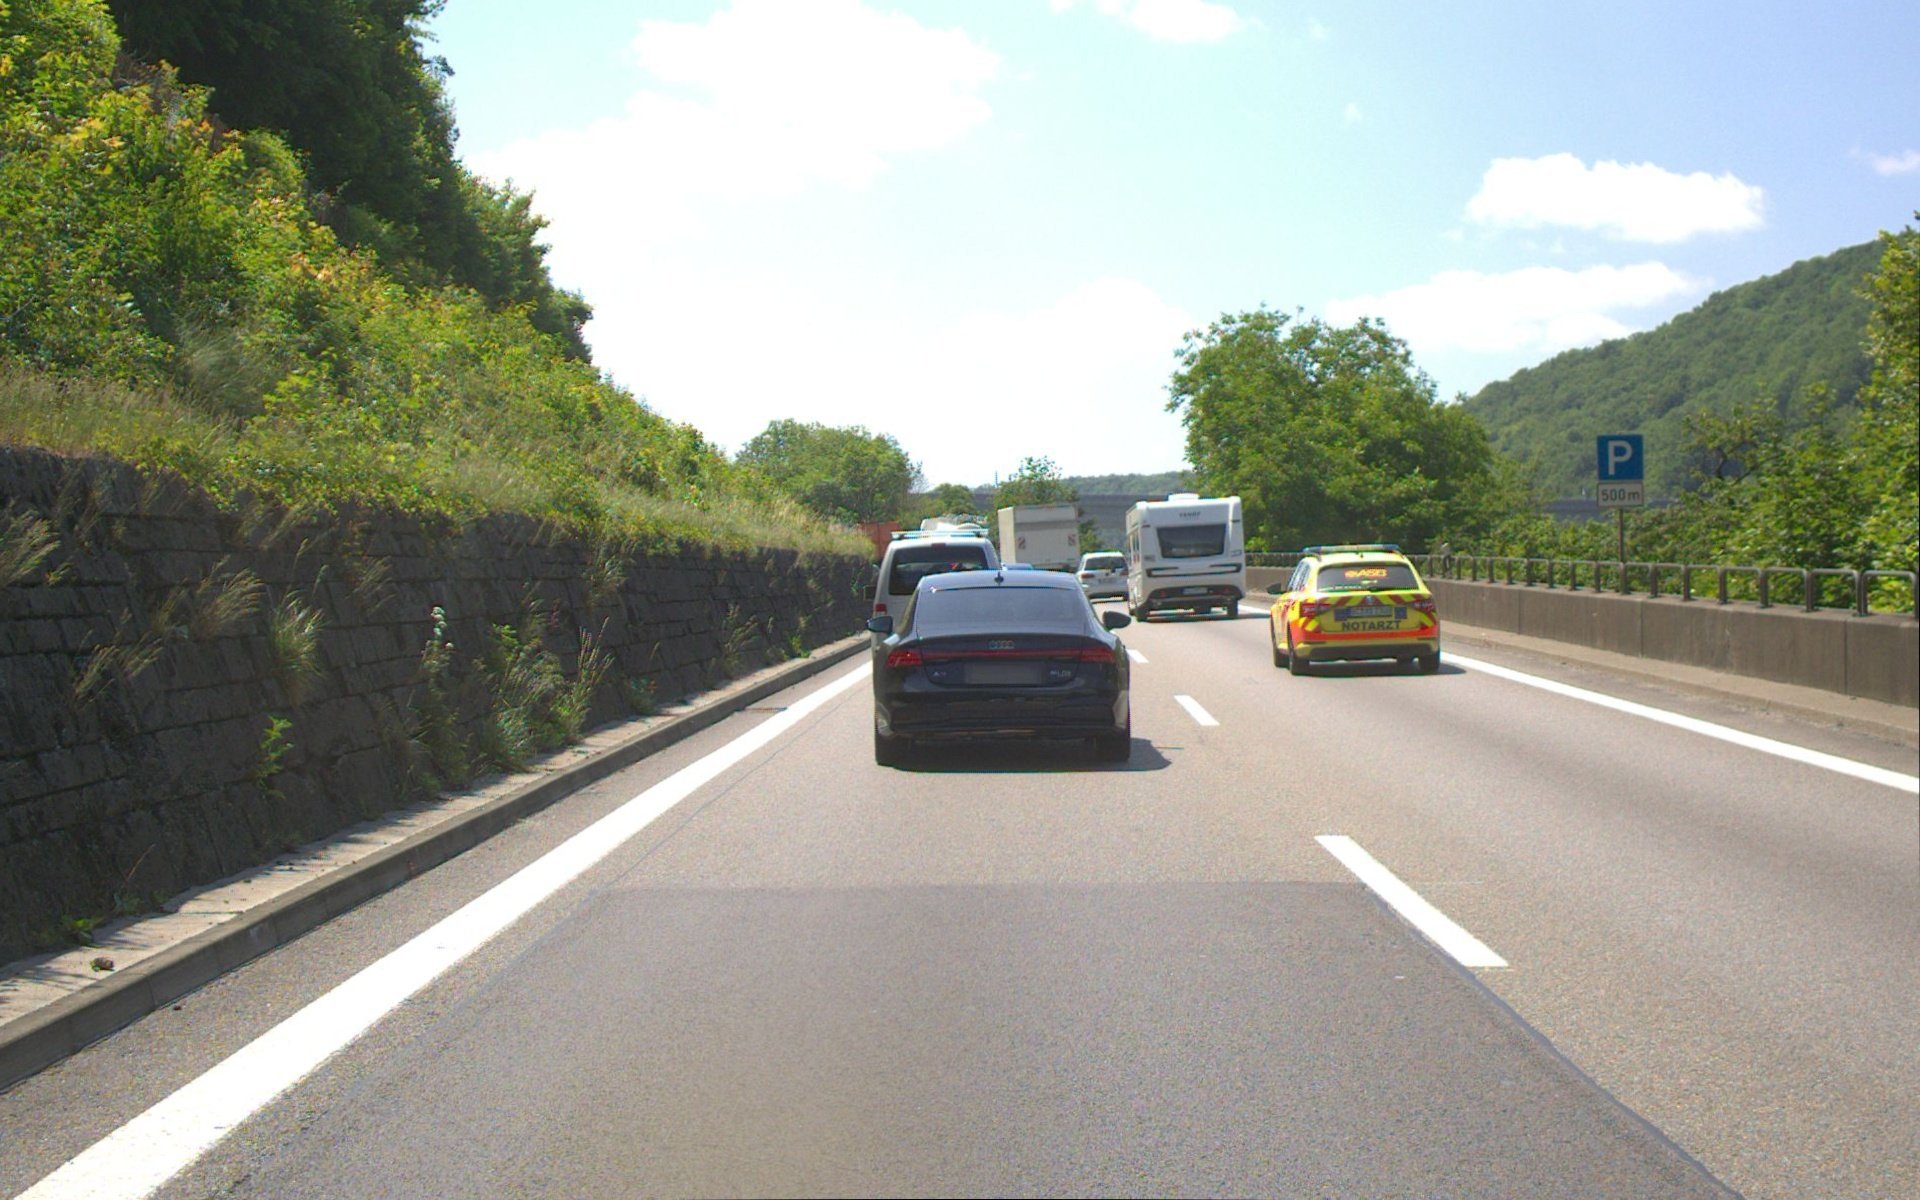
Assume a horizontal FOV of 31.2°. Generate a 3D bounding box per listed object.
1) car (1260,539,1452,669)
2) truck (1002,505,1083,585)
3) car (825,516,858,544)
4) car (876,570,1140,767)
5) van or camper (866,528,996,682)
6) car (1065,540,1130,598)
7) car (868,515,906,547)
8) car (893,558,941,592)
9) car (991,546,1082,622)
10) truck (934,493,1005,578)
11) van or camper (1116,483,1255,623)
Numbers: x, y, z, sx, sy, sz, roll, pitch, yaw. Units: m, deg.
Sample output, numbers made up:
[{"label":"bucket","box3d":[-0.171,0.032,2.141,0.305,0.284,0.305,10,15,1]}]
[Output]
[{"label":"car","box3d":[4.828,0.058,42.394,1.863,1.483,4.000,1,0,0]},{"label":"truck","box3d":[3.252,-2.199,137.647,2.840,3.120,7.480,0,1,-2]},{"label":"car","box3d":[-8.569,-5.045,248.187,1.993,2.007,4.001,1,1,-8]},{"label":"car","box3d":[0.322,0.491,26.240,1.837,1.345,4.000,1,0,0]},{"label":"van or camper","box3d":[-0.398,0.071,43.191,1.391,1.810,4.000,1,0,-3]},{"label":"car","box3d":[4.283,-0.959,107.666,1.841,1.711,4.000,1,0,0]},{"label":"car","box3d":[-4.737,-4.413,221.532,1.993,2.007,4.001,1,1,-8]},{"label":"car","box3d":[-1.899,-1.095,150.129,1.993,1.459,4.000,1,1,-2]},{"label":"car","box3d":[1.674,-0.372,76.086,1.773,1.631,4.000,0,1,-2]},{"label":"truck","box3d":[0.436,-3.178,169.840,2.732,4.082,7.481,0,1,-6]},{"label":"van or camper","box3d":[4.933,-0.988,76.234,2.455,2.908,6.126,1,0,-1]}]
